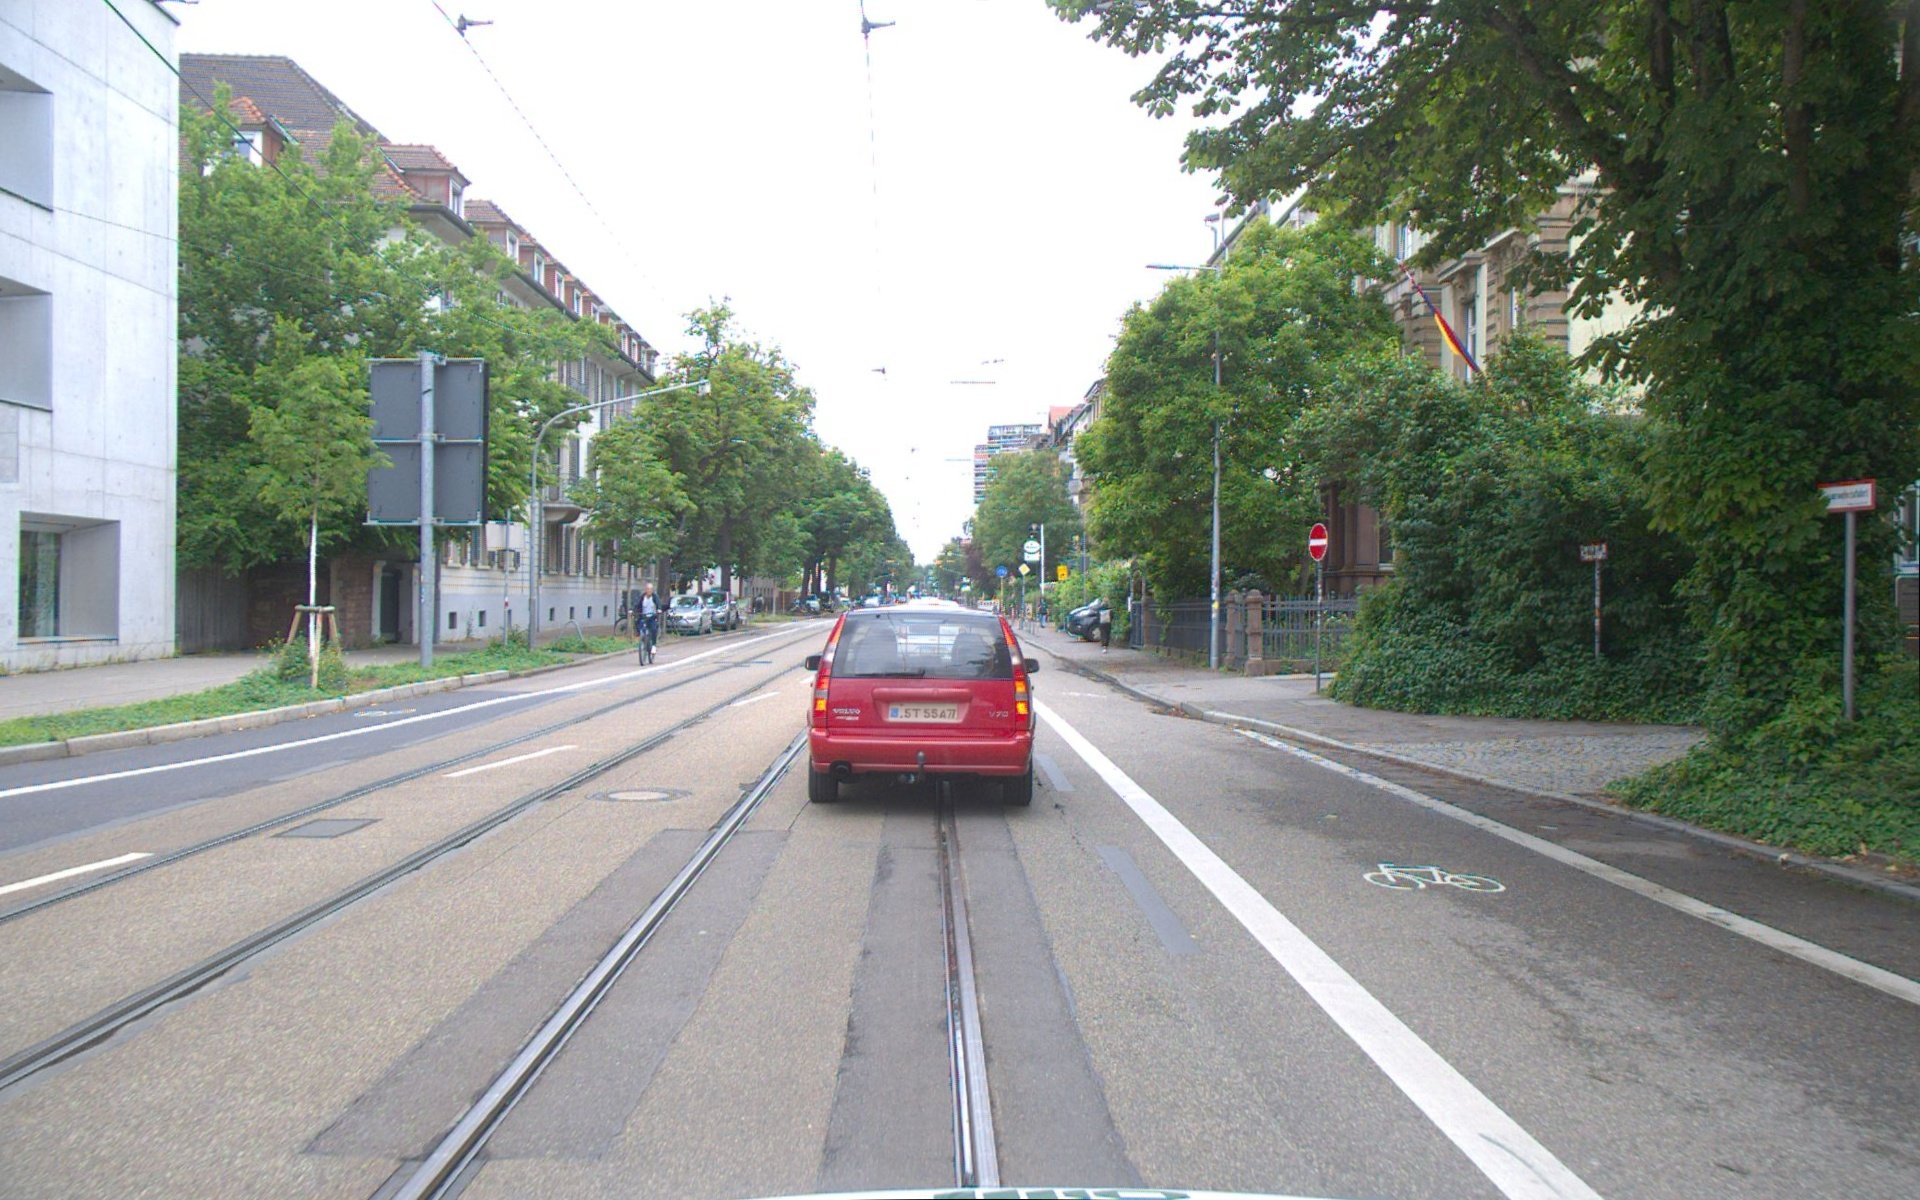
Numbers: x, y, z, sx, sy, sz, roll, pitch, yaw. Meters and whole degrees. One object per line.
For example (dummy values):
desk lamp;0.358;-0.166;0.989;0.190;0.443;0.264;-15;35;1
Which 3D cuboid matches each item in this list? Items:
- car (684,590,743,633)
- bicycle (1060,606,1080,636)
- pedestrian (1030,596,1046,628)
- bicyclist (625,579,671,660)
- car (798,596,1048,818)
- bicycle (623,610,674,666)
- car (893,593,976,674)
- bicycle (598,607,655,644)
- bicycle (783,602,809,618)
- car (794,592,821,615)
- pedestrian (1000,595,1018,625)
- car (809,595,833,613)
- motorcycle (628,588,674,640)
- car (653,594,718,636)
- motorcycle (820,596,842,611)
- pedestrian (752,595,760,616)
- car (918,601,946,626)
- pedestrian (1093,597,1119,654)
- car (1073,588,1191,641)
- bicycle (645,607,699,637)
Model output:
car;-10.447;0.475;70.387;1.800;1.690;4.293;3;0;0
bicycle;4.509;0.837;67.654;0.620;1.147;1.812;-2;1;-2
pedestrian;4.174;0.650;88.158;0.777;1.665;0.836;1;0;-1
bicyclist;-7.149;0.436;37.979;0.775;1.814;1.147;-2;0;-1
car;-0.265;0.713;12.897;1.654;1.467;3.742;0;0;-1
bicycle;-7.129;0.857;37.973;0.775;1.206;2.010;-2;0;-1
car;-0.509;0.693;36.255;1.683;1.653;3.941;1;0;1
bicycle;-10.632;0.807;52.711;1.705;1.148;0.518;1;0;17
bicycle;-12.378;0.754;124.754;1.883;1.140;0.624;2;0;-2
car;-11.902;0.265;128.930;1.859;1.684;4.223;1;0;-2
pedestrian;2.845;0.575;96.056;0.854;1.685;0.909;1;0;11
car;-12.405;0.384;147.693;1.741;1.537;4.237;1;0;-1
motorcycle;-10.250;0.460;54.963;0.815;1.672;2.482;1;0;7
car;-10.233;0.543;61.899;1.775;1.491;4.612;1;0;-2
motorcycle;-13.196;0.387;169.118;2.225;1.538;0.924;0;-2;34
pedestrian;-14.522;0.398;117.735;0.553;1.493;0.722;0;0;-1
car;-1.892;0.883;111.535;1.707;1.634;3.997;1;0;-3
pedestrian;4.388;0.760;49.790;0.611;1.700;0.959;-2;0;-2
car;6.352;0.528;61.320;4.192;1.841;1.823;-1;0;0
bicycle;-10.195;0.787;58.561;1.858;1.045;0.563;0;0;-6
